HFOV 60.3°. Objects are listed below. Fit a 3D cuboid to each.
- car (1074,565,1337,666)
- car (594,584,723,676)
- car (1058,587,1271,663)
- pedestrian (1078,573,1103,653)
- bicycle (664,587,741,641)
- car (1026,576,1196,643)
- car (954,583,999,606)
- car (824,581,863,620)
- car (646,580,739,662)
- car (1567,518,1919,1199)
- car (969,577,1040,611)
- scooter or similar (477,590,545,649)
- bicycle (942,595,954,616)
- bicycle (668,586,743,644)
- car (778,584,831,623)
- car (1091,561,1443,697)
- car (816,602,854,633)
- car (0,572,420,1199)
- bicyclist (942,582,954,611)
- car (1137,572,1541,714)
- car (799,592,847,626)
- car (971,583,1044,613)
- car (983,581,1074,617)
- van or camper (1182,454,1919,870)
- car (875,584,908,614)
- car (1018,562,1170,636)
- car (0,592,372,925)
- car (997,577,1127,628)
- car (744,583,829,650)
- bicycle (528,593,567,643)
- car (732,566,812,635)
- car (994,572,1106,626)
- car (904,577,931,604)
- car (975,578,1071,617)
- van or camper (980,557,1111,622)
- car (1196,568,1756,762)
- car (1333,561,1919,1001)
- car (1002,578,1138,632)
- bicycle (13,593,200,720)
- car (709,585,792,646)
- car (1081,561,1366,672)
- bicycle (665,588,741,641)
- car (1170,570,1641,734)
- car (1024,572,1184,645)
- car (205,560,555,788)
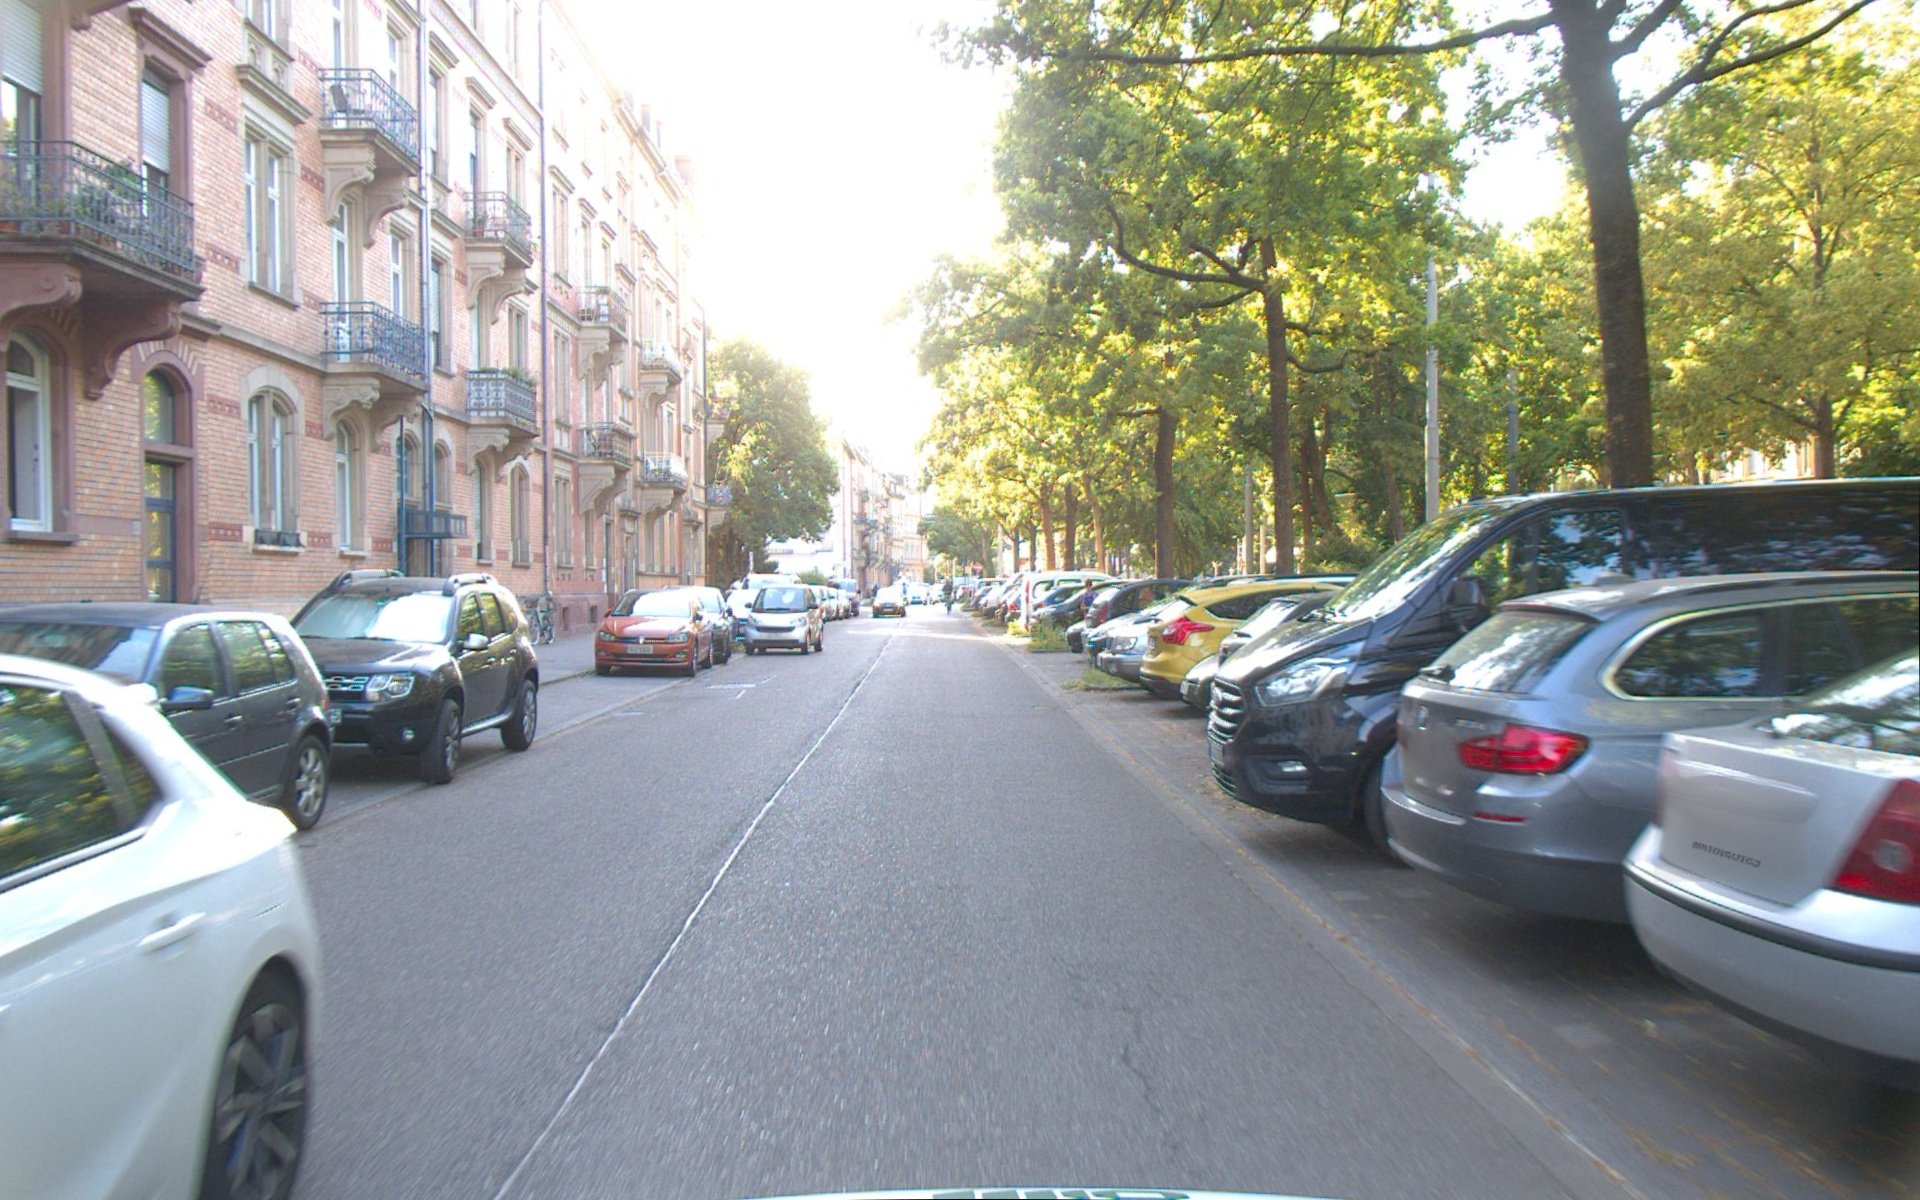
[{"bbox_3d":[4.320,0.266,29.478,4.314,1.619,1.835,-2,0,-6],"label":"car"},{"bbox_3d":[-5.311,0.486,29.603,1.718,1.489,3.998,2,0,-3],"label":"car"},{"bbox_3d":[3.830,0.459,31.356,3.765,1.301,1.690,-2,0,-2],"label":"car"},{"bbox_3d":[2.660,0.256,33.702,0.372,1.612,0.519,0,2,18],"label":"pedestrian"},{"bbox_3d":[-6.042,0.335,38.803,1.727,1.236,0.464,0,-1,-1],"label":"bicycle"},{"bbox_3d":[3.763,0.221,41.669,4.001,1.467,1.760,-3,0,-4],"label":"car"},{"bbox_3d":[1.530,-0.466,151.969,3.902,2.049,2.001,0,-1,10],"label":"car"},{"bbox_3d":[-6.359,0.003,90.344,1.918,2.053,4.267,0,0,-1],"label":"car"},{"bbox_3d":[-5.488,0.411,34.310,1.714,1.573,4.145,1,0,-7],"label":"car"},{"bbox_3d":[4.088,0.582,4.394,4.308,1.605,1.664,-2,-1,1],"label":"car"},{"bbox_3d":[2.504,-0.331,94.497,3.908,1.825,1.857,0,-1,-4],"label":"car"},{"bbox_3d":[-9.707,0.436,35.851,0.767,1.244,2.703,0,-1,-1],"label":"scooter or similar"},{"bbox_3d":[-0.665,0.320,91.642,0.628,1.119,1.943,0,-1,-2],"label":"bicycle"},{"bbox_3d":[-6.130,0.357,39.837,1.727,1.371,0.495,0,-1,-1],"label":"bicycle"},{"bbox_3d":[-6.128,0.120,65.622,1.669,1.454,3.877,2,1,1],"label":"car"},{"bbox_3d":[4.009,0.368,22.095,4.310,1.619,1.837,-2,0,-2],"label":"car"},{"bbox_3d":[-6.381,0.892,84.810,1.721,1.491,4.267,0,0,-1],"label":"car"},{"bbox_3d":[-2.322,0.755,2.500,1.634,1.455,4.000,-3,2,0],"label":"car"},{"bbox_3d":[-0.674,-0.175,91.619,0.615,1.601,0.802,0,-1,-2],"label":"bicyclist"},{"bbox_3d":[4.314,0.481,19.343,4.308,1.465,1.838,-2,0,1],"label":"car"},{"bbox_3d":[-6.286,0.405,76.153,1.720,1.491,4.269,0,0,2],"label":"car"},{"bbox_3d":[2.637,-0.121,91.826,3.908,1.591,1.857,0,-1,-4],"label":"car"},{"bbox_3d":[3.052,-0.026,74.220,3.908,1.575,1.857,0,-1,-4],"label":"car"},{"bbox_3d":[4.076,0.285,9.600,5.302,2.062,2.030,-2,1,1],"label":"van or camper"},{"bbox_3d":[-3.559,-0.060,86.166,1.635,1.489,3.999,-2,1,-2],"label":"car"},{"bbox_3d":[3.789,-0.031,47.167,4.134,1.896,1.762,-2,0,0],"label":"car"},{"bbox_3d":[-4.970,0.717,9.599,1.582,1.477,4.001,1,1,1],"label":"car"},{"bbox_3d":[3.315,0.085,54.593,4.134,1.478,1.865,-2,0,0],"label":"car"},{"bbox_3d":[-3.982,0.358,38.359,1.472,1.460,2.754,-2,1,4],"label":"car"},{"bbox_3d":[-9.700,0.436,38.933,0.418,1.150,1.769,0,-1,2],"label":"bicycle"},{"bbox_3d":[-5.562,0.066,49.440,1.953,1.955,5.037,0,-1,-2],"label":"car"},{"bbox_3d":[3.213,-0.042,59.667,3.905,1.721,1.859,-2,0,0],"label":"car"},{"bbox_3d":[-3.261,-0.703,126.007,1.953,1.870,3.998,0,-1,-2],"label":"car"},{"bbox_3d":[2.899,-0.087,76.834,4.303,1.729,1.857,0,-1,-4],"label":"car"},{"bbox_3d":[3.281,-0.383,64.230,4.882,2.419,2.183,0,-1,-3],"label":"van or camper"},{"bbox_3d":[4.384,0.528,14.506,4.311,1.465,1.837,-2,0,-2],"label":"car"},{"bbox_3d":[3.977,0.627,6.986,4.312,1.527,1.836,-2,-1,-4],"label":"car"},{"bbox_3d":[3.419,0.143,51.700,4.132,1.478,1.649,-2,0,3],"label":"car"},{"bbox_3d":[-9.134,0.558,17.839,0.721,1.227,2.514,0,1,0],"label":"bicycle"},{"bbox_3d":[-5.517,0.382,43.914,1.640,1.480,4.210,-2,1,0],"label":"car"},{"bbox_3d":[4.206,0.254,26.874,4.309,1.619,1.837,-2,0,0],"label":"car"},{"bbox_3d":[-6.101,0.346,39.313,1.727,1.236,0.428,0,-1,-1],"label":"bicycle"},{"bbox_3d":[4.416,0.502,16.907,4.308,1.465,1.838,-2,0,1],"label":"car"},{"bbox_3d":[3.373,0.193,39.225,3.599,1.527,1.762,-2,0,0],"label":"car"},{"bbox_3d":[-4.951,0.549,14.757,1.716,1.735,4.199,0,0,-1],"label":"car"}]
